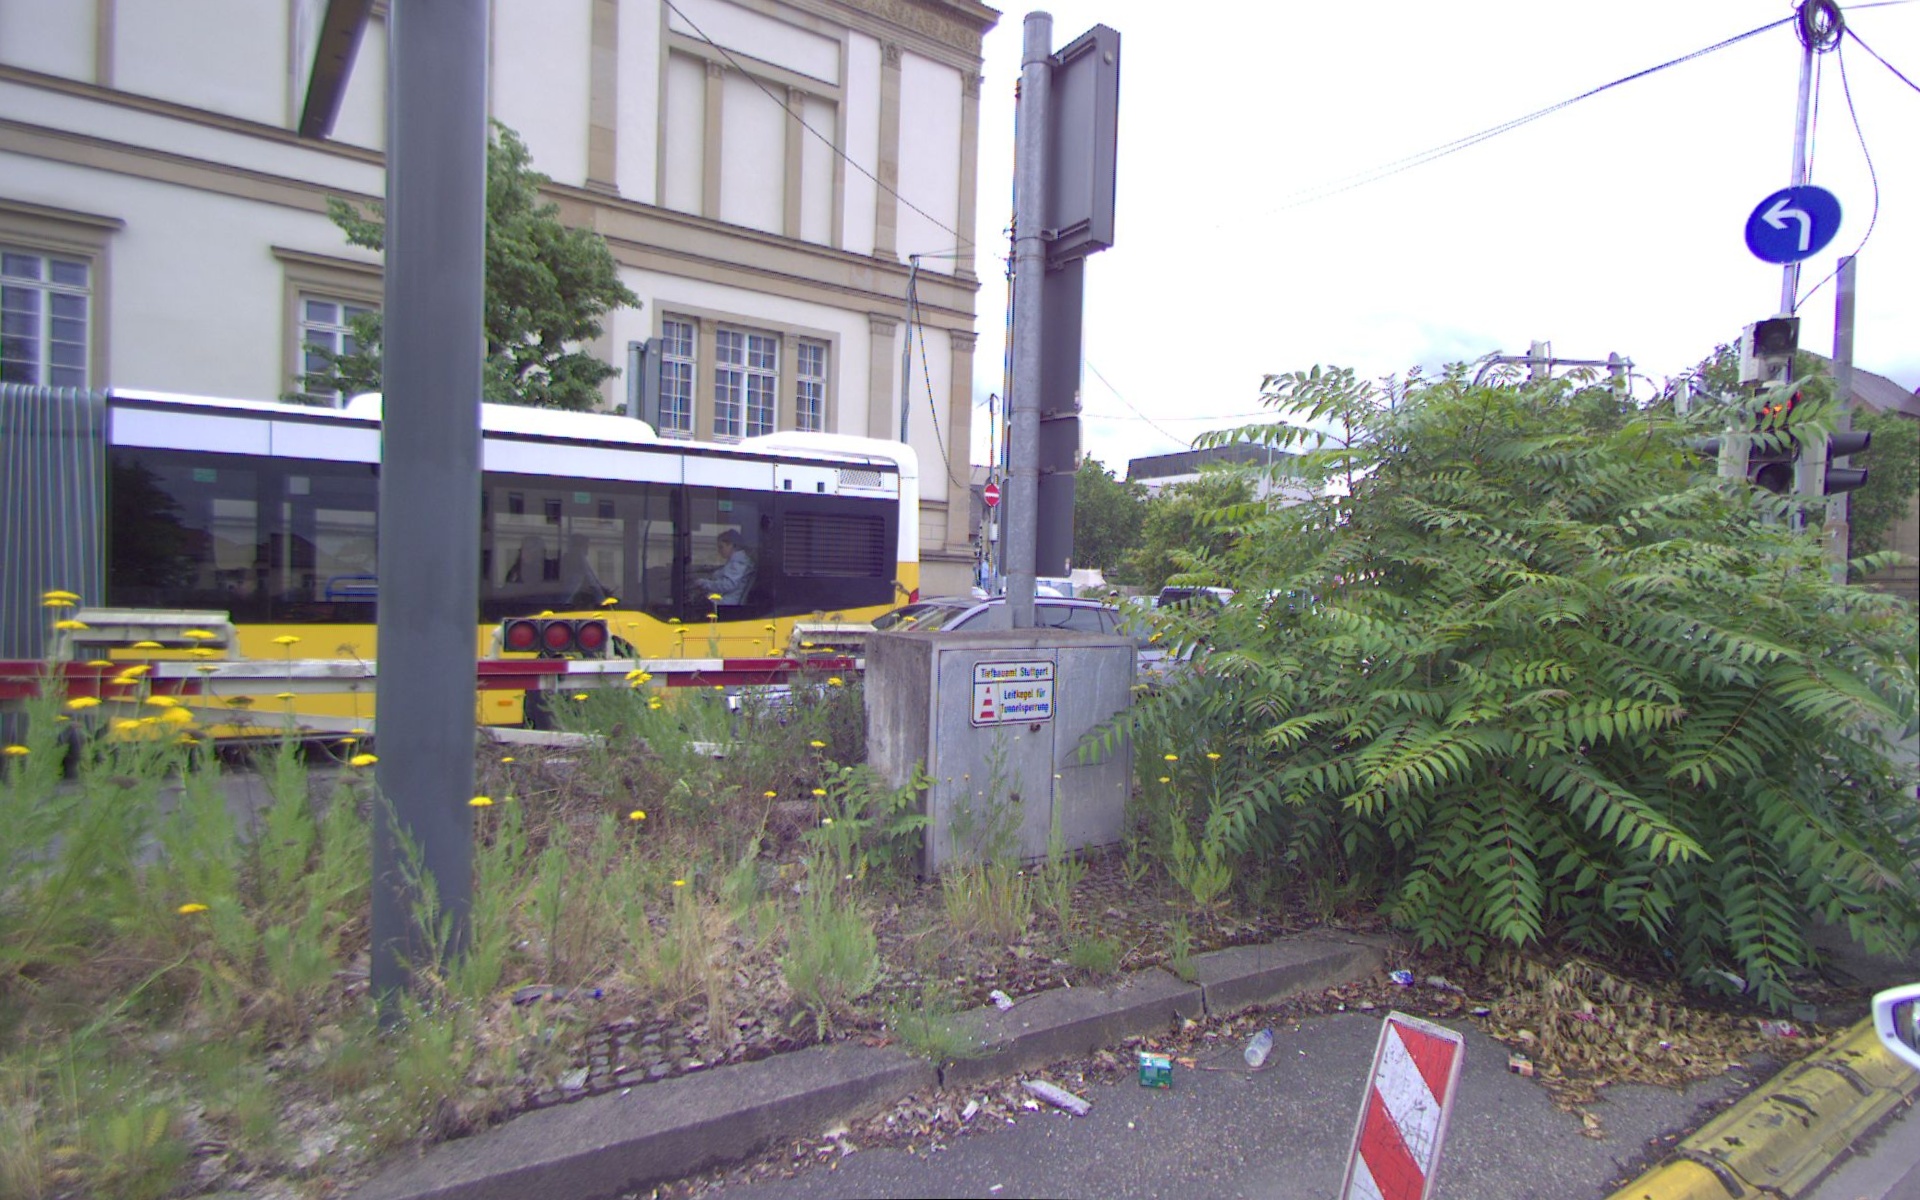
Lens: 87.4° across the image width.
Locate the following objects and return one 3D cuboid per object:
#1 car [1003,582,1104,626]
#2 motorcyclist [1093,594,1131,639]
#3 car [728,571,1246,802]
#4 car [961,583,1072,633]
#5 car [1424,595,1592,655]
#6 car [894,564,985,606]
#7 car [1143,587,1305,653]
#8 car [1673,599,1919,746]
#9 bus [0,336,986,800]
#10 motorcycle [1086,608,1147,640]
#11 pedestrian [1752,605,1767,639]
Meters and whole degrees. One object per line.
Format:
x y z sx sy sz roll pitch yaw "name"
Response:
3.863 0.135 42.297 1.979 1.698 4.285 1 1 -34 "car"
4.955 0.529 32.803 0.738 1.442 0.959 1 1 -35 "motorcyclist"
0.355 0.638 8.580 4.244 1.533 1.696 1 -2 -34 "car"
2.041 0.259 37.508 1.979 1.698 4.285 1 1 -34 "car"
17.435 0.754 32.102 1.986 1.698 4.271 1 1 -43 "car"
-0.950 -0.664 43.675 1.979 1.698 4.285 1 1 -34 "car"
7.579 0.529 29.213 1.979 1.698 4.285 1 1 -34 "car"
11.996 0.891 13.730 4.388 1.692 1.870 1 1 -28 "car"
-4.320 -0.178 9.814 9.017 3.156 2.831 1 1 -31 "bus"
5.067 0.771 32.643 0.749 0.937 2.042 1 1 -35 "motorcycle"
49.722 1.367 62.477 0.516 2.040 0.428 2 1 17 "pedestrian"
